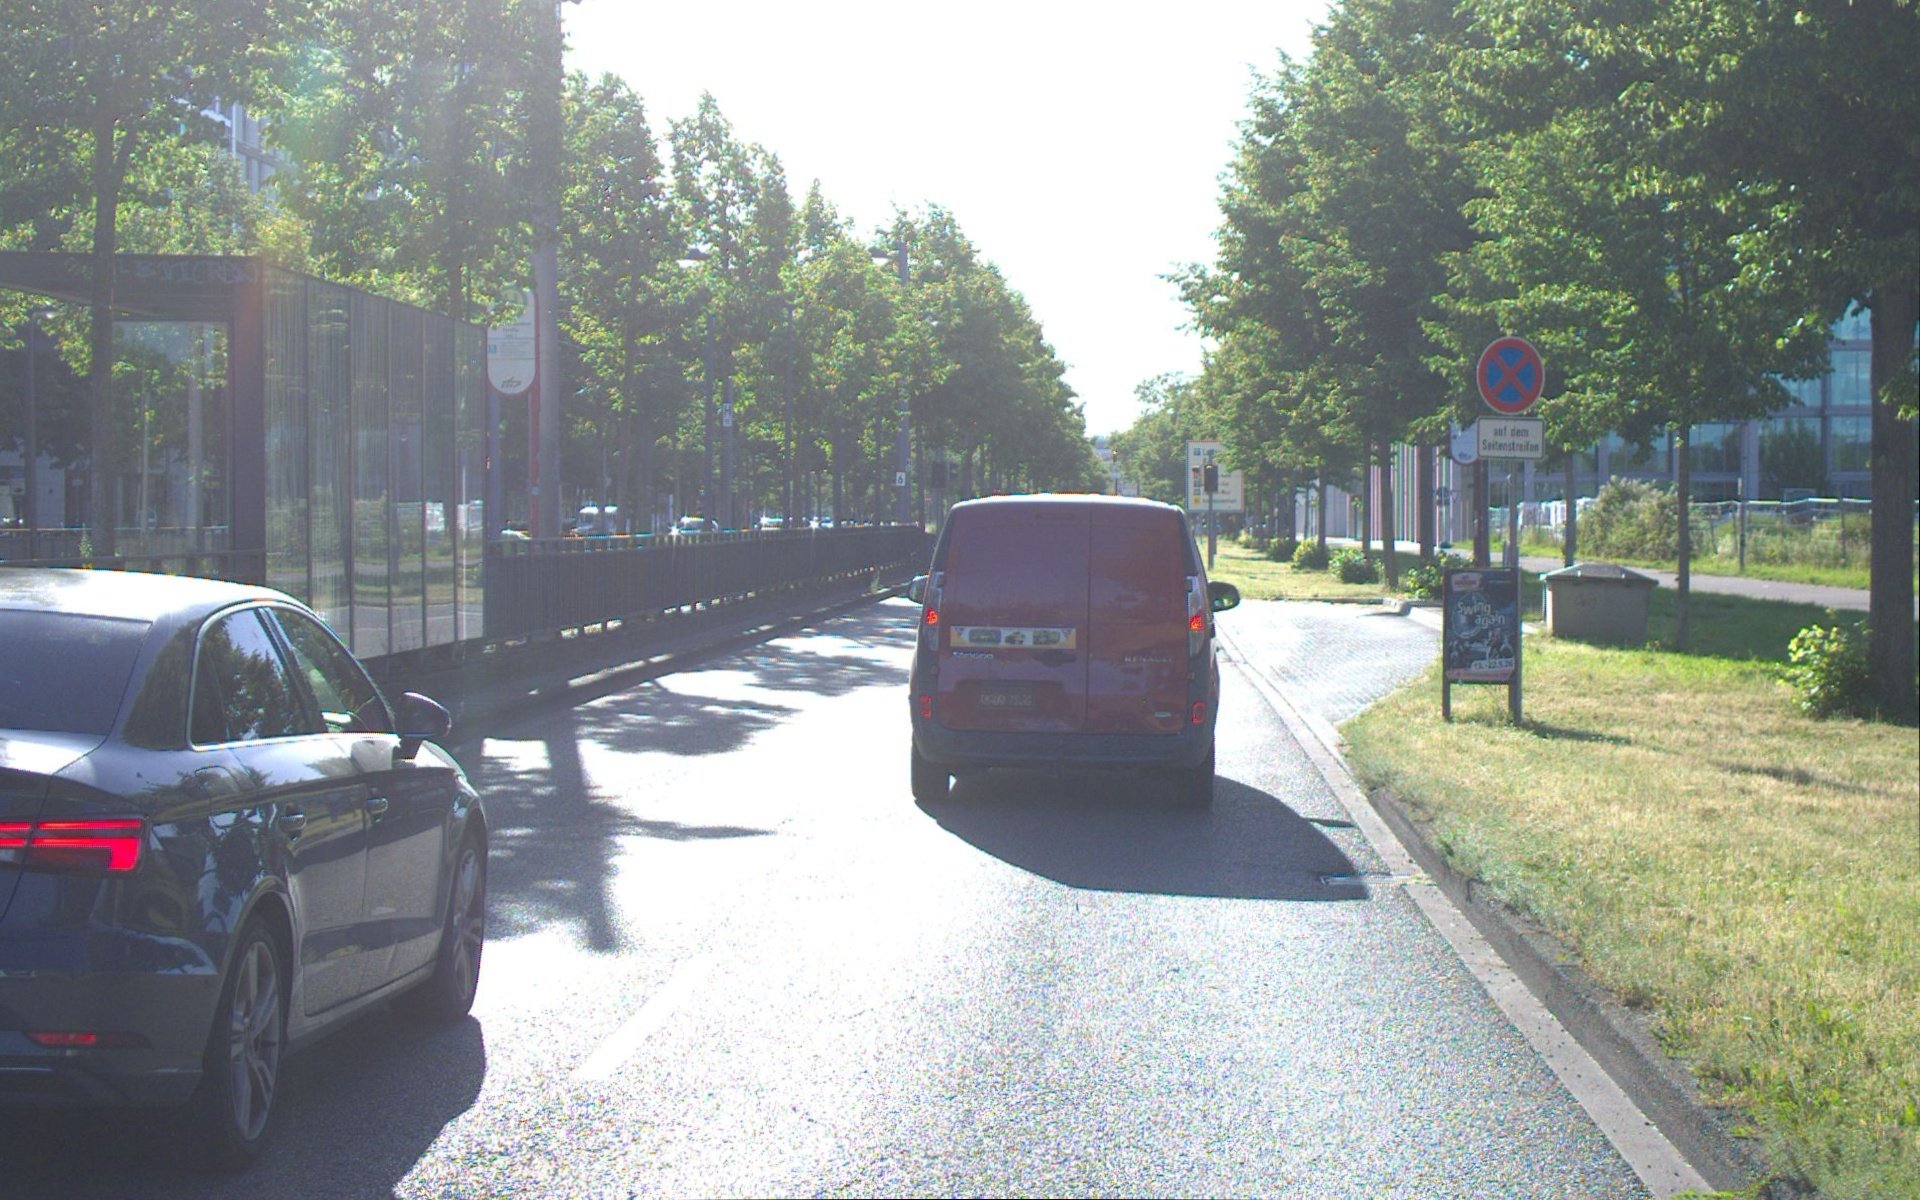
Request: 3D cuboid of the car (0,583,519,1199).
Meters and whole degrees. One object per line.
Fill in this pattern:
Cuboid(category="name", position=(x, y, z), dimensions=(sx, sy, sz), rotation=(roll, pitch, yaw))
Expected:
Cuboid(category="car", position=(-2.435, 0.640, 9.148), dimensions=(1.721, 1.362, 4.145), rotation=(1, 0, 4))

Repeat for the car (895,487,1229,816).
Cuboid(category="car", position=(0.592, 0.235, 21.005), dimensions=(1.797, 1.771, 4.000), rotation=(2, 1, 1))

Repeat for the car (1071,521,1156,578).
Cuboid(category="car", position=(3.674, -1.233, 82.930), dimensions=(1.942, 1.342, 4.000), rotation=(0, 1, 1))

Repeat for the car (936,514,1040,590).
Cuboid(category="car", position=(0.558, -0.946, 66.698), dimensions=(1.942, 1.436, 4.000), rotation=(0, 1, 1))
